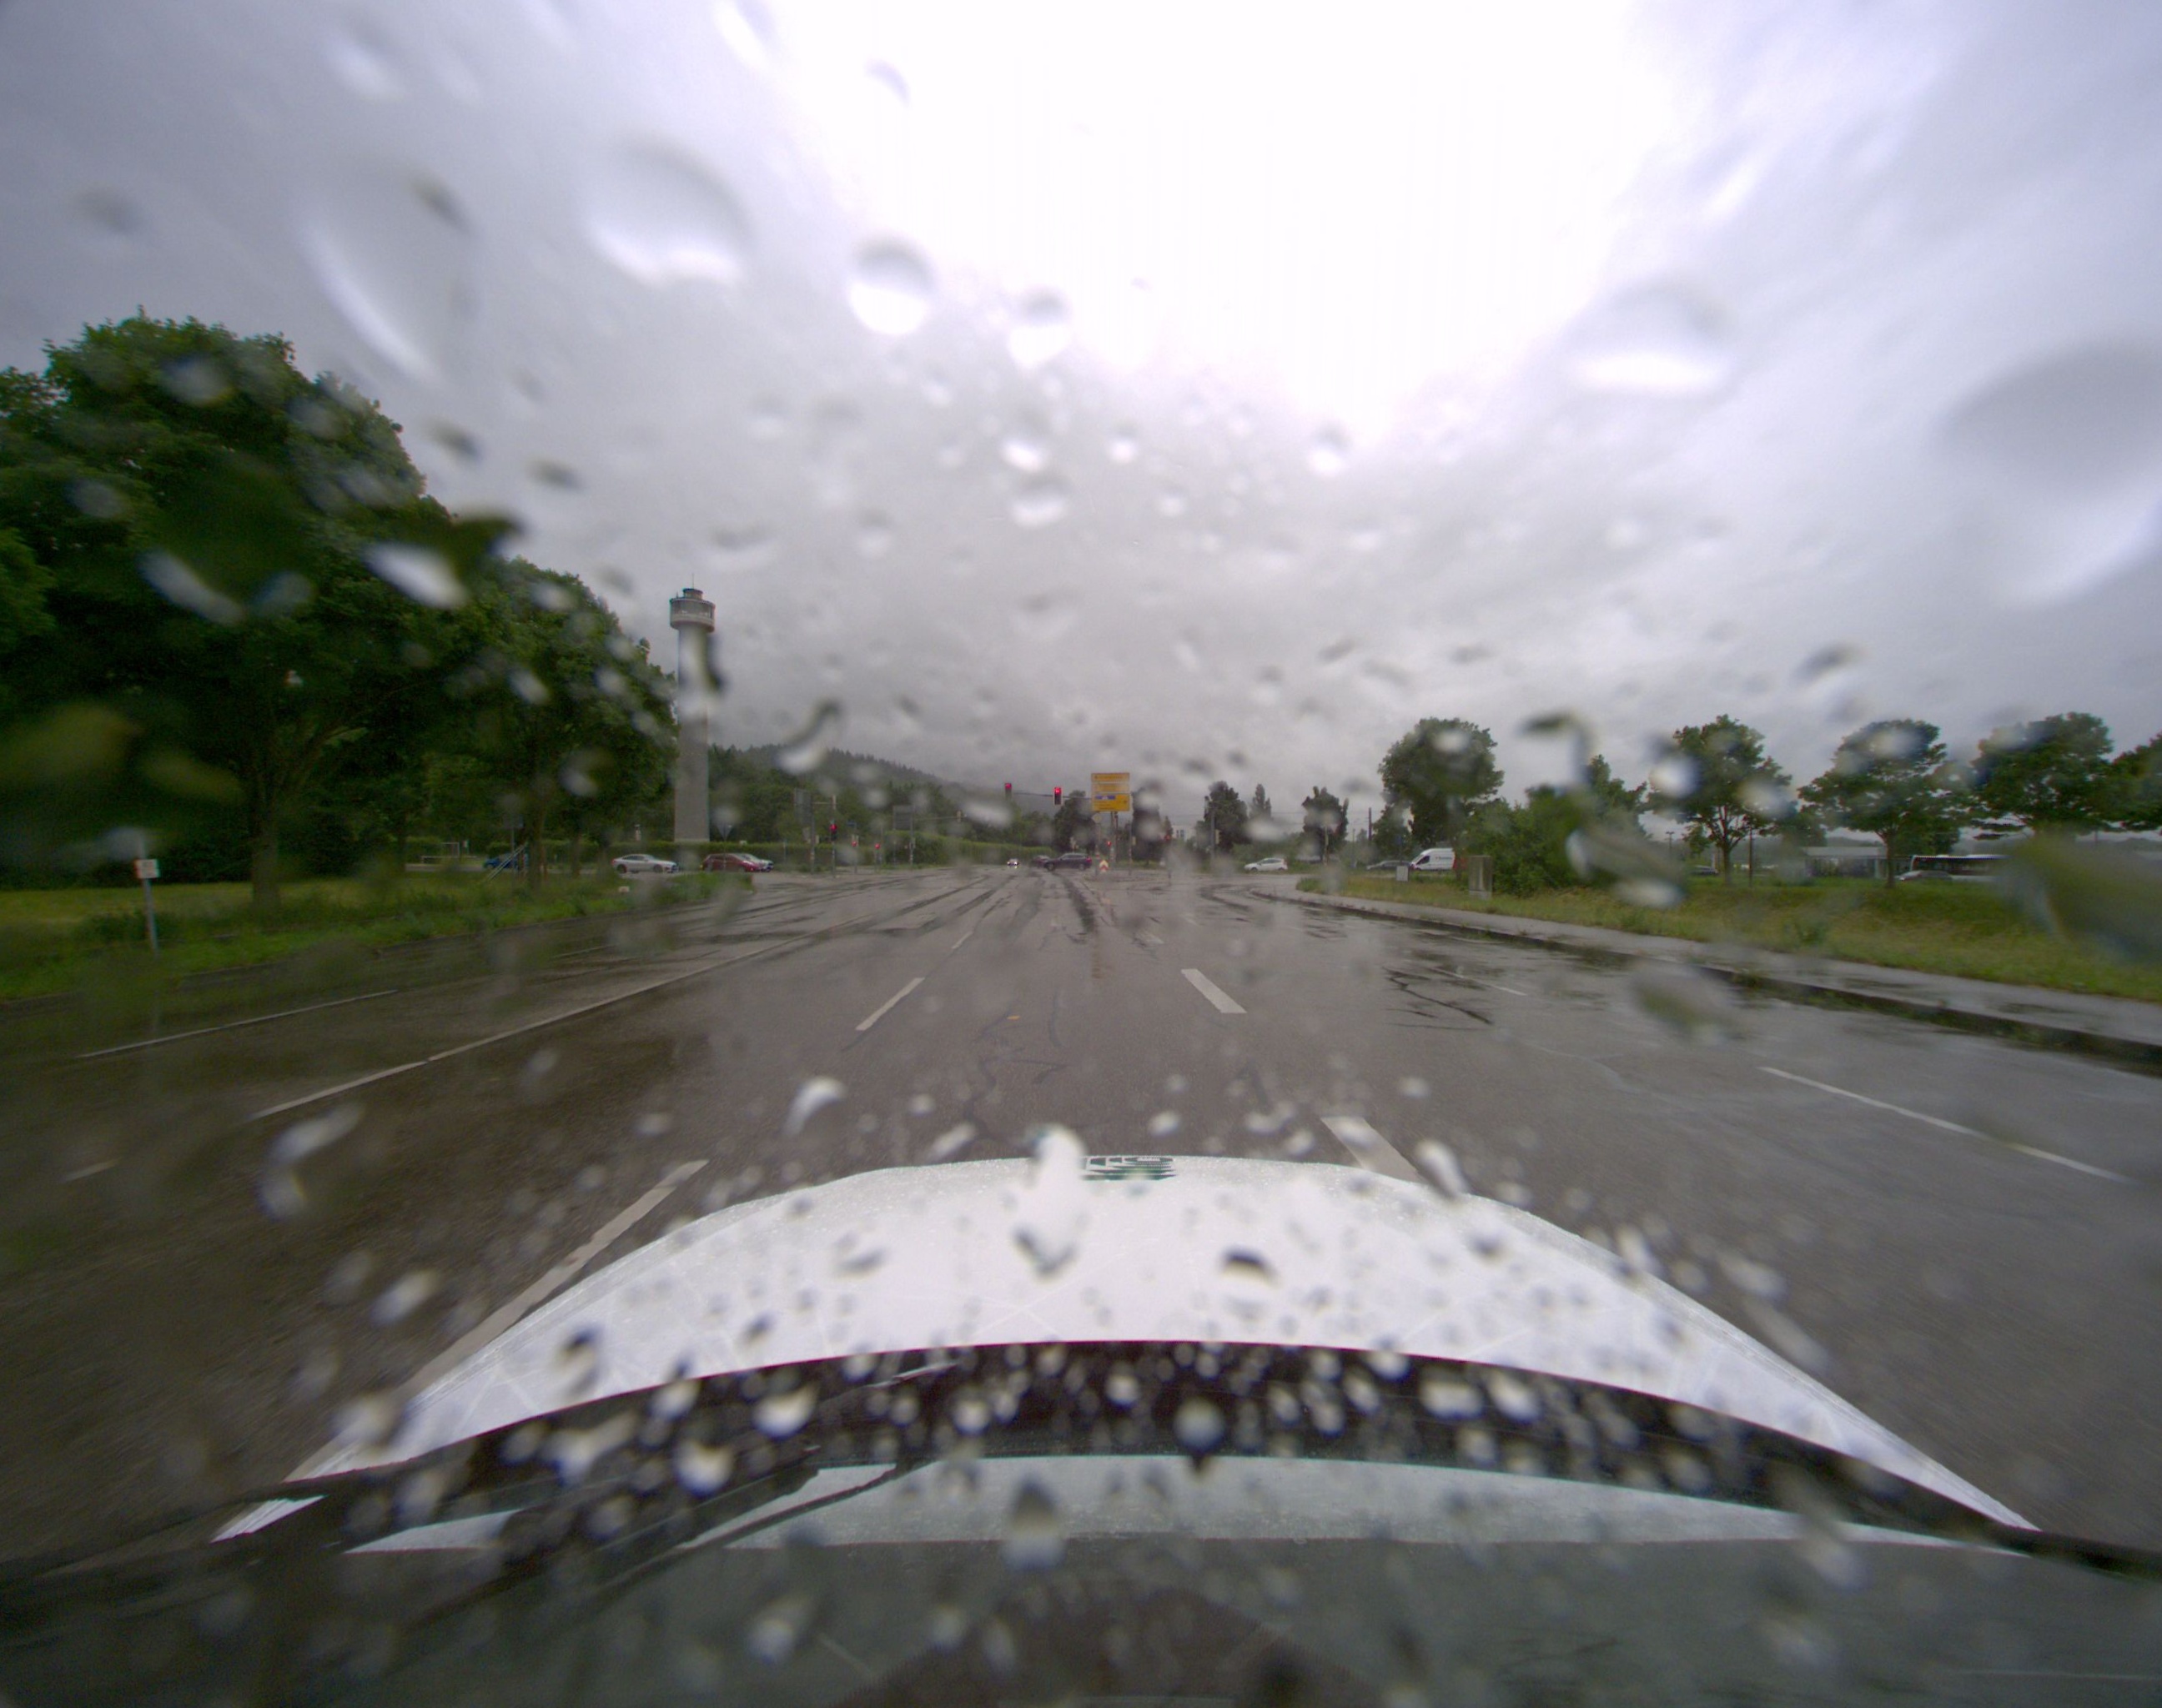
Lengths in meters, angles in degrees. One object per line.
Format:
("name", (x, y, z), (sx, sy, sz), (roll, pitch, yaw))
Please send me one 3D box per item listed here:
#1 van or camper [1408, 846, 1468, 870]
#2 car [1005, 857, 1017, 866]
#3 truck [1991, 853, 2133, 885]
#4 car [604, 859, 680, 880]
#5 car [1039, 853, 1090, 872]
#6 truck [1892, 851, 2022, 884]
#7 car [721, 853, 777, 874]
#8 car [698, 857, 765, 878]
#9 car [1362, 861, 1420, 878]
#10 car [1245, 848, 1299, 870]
("van or camper", (33.705, 0.355, 76.958), (4.837, 2.169, 2.158), (0, 0, -3))
("car", (-13.852, 1.476, 161.790), (1.872, 1.573, 4.646), (-2, 0, 2))
("truck", (89.529, 1.348, 74.453), (9.281, 2.772, 2.659), (1, 0, 4))
("car", (-33.505, 1.160, 62.170), (4.859, 1.553, 1.802), (0, 0, 4))
("car", (-1.503, 0.780, 75.695), (4.653, 1.639, 1.823), (-2, 0, 0))
("truck", (80.529, 1.189, 74.950), (8.780, 2.832, 2.658), (1, 0, 3))
("car", (-26.767, 0.756, 65.678), (3.783, 1.711, 1.748), (0, 0, 5))
("car", (-26.556, 1.009, 61.962), (4.355, 1.579, 1.735), (0, 0, 4))
("car", (28.388, 1.411, 74.722), (4.649, 1.553, 1.824), (0, 0, 3))
("car", (17.574, 0.464, 75.041), (4.649, 1.915, 1.917), (0, 0, 3))
